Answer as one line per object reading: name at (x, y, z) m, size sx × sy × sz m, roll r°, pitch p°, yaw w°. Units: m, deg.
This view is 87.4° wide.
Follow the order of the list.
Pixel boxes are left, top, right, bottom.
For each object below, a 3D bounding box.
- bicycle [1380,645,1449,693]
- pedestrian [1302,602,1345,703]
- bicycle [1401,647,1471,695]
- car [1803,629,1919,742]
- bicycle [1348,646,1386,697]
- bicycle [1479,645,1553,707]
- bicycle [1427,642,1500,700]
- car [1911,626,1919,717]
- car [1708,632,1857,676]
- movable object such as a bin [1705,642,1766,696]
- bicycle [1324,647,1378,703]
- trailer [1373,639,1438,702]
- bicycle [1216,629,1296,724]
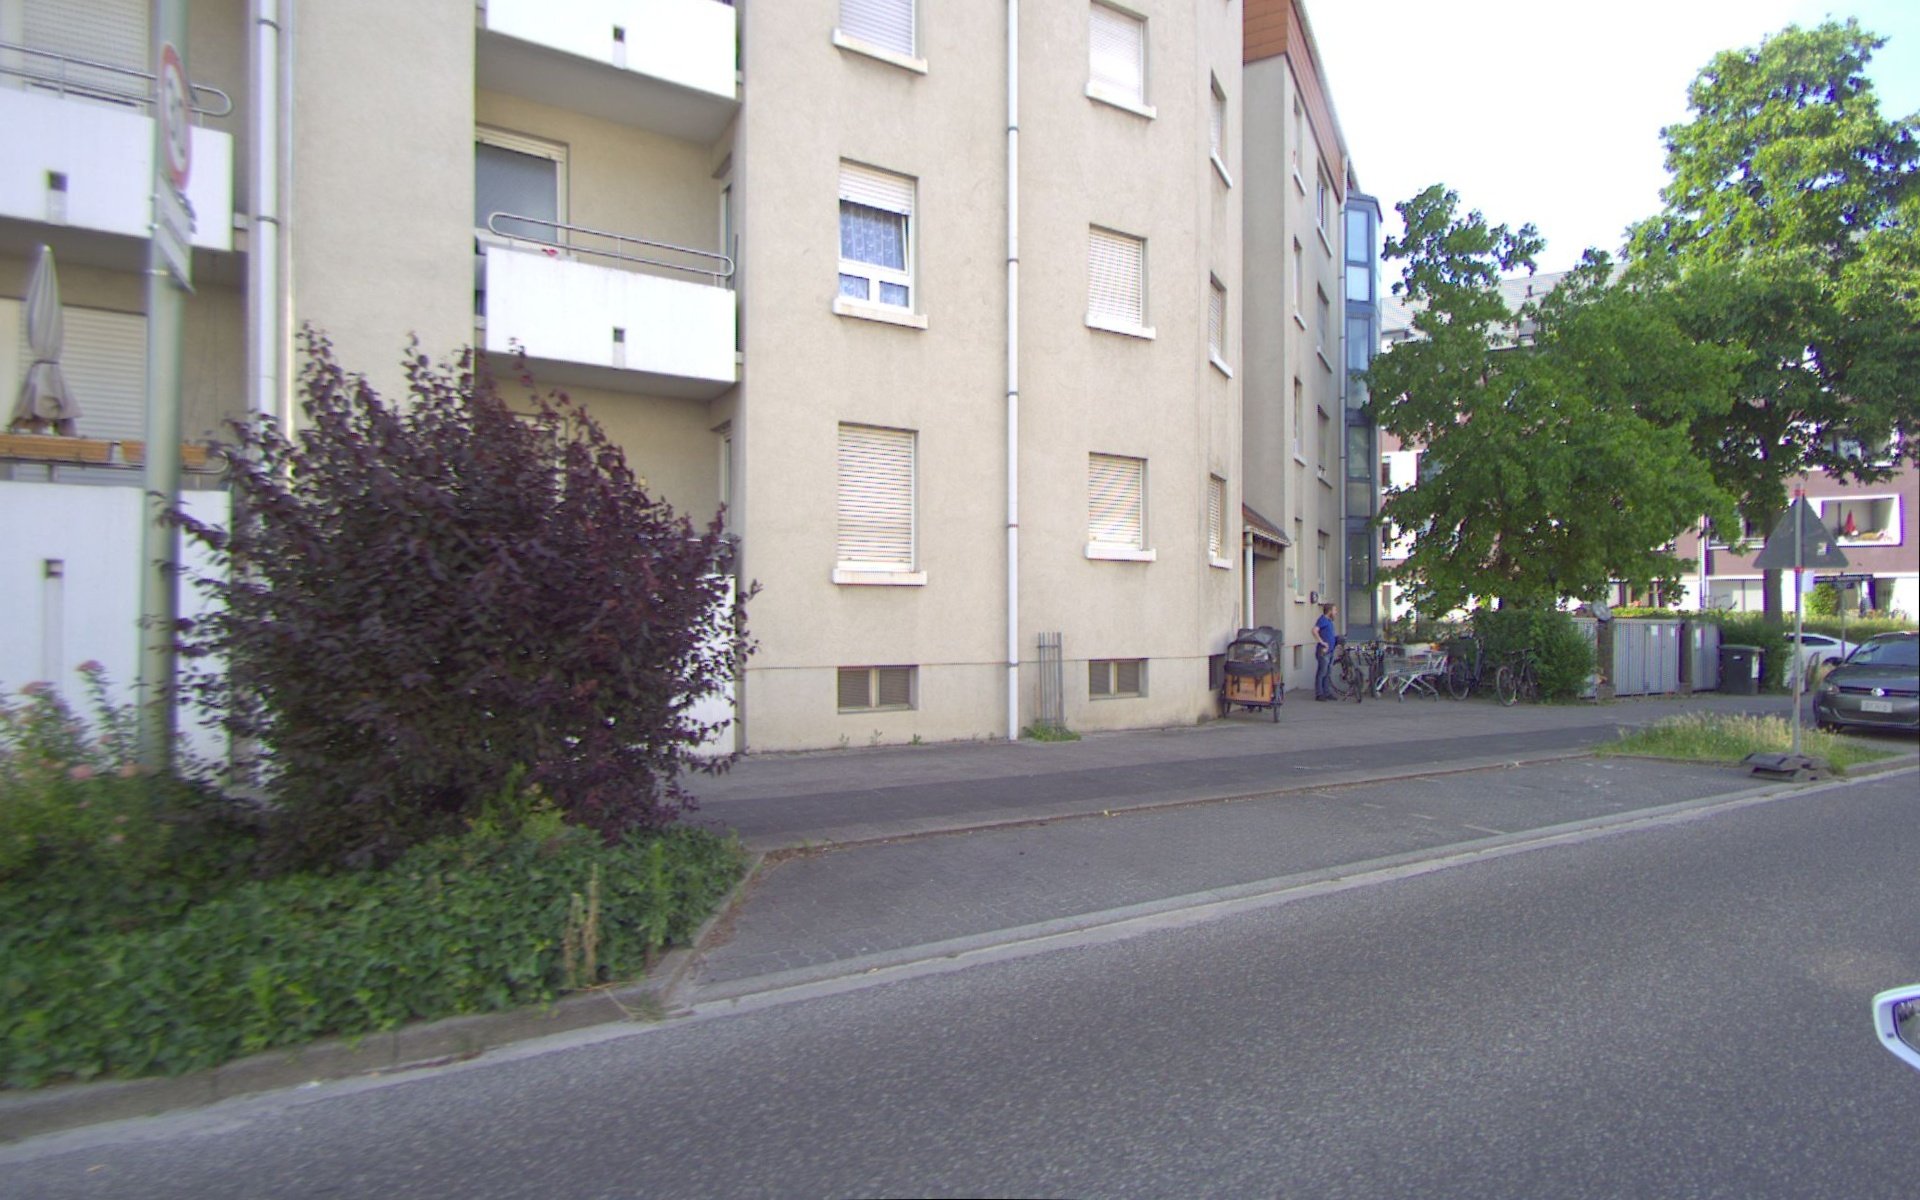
bicycle at (8.840, 1.324, 19.517) m, size 1.666 × 0.863 × 0.458 m, roll 1°, pitch -1°, yaw -35°
pedestrian at (6.416, 0.915, 17.751) m, size 0.519 × 1.746 × 0.441 m, roll 1°, pitch 1°, yaw -31°
bicycle at (9.036, 1.330, 19.045) m, size 1.666 × 0.863 × 0.458 m, roll 1°, pitch -1°, yaw -35°
car at (13.717, 1.146, 14.302) m, size 3.761 × 1.439 × 1.565 m, roll 1°, pitch -1°, yaw -32°
bicycle at (7.628, 1.318, 18.838) m, size 0.453 × 0.893 × 1.241 m, roll 0°, pitch -1°, yaw 12°
bicycle at (9.814, 1.316, 17.708) m, size 1.666 × 1.036 × 0.458 m, roll 1°, pitch -1°, yaw -35°
bicycle at (9.228, 1.286, 18.383) m, size 1.666 × 1.006 × 0.458 m, roll 1°, pitch -1°, yaw -35°
car at (18.179, 1.226, 17.362) m, size 3.957 × 1.521 × 1.666 m, roll 1°, pitch -1°, yaw -33°
car at (26.237, 1.709, 32.182) m, size 3.395 × 1.305 × 1.662 m, roll 0°, pitch -1°, yaw 28°
movable object such as a bin at (16.559, 1.460, 21.455) m, size 0.807 × 1.054 × 0.748 m, roll 1°, pitch 2°, yaw -30°
bicycle at (6.982, 1.326, 17.980) m, size 0.454 × 0.863 × 1.454 m, roll 0°, pitch 1°, yaw 2°
trailer at (7.918, 1.243, 17.873) m, size 0.894 × 1.070 × 0.584 m, roll 1°, pitch -1°, yaw -15°
bicycle at (4.210, 1.045, 14.233) m, size 0.874 × 1.266 × 1.209 m, roll 0°, pitch -1°, yaw 28°
